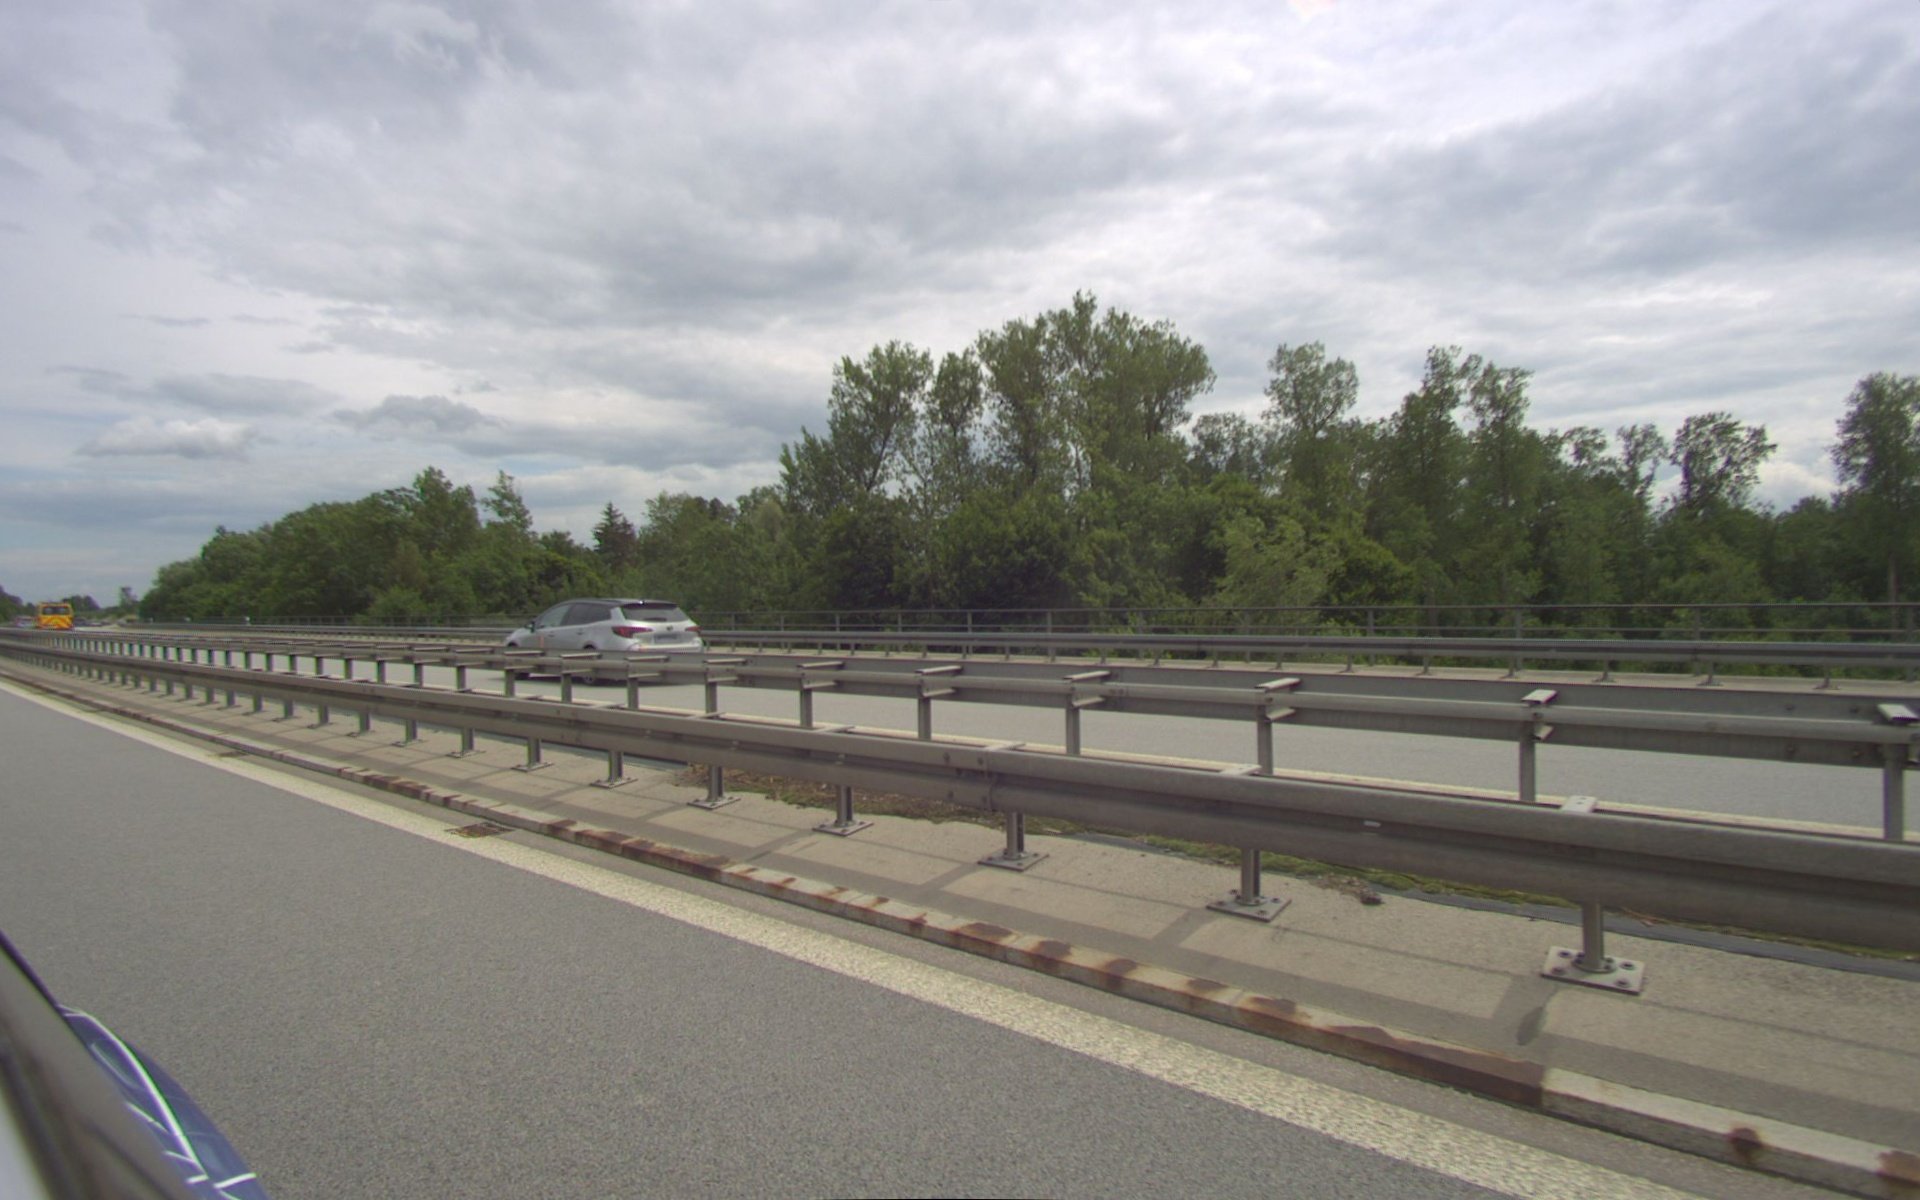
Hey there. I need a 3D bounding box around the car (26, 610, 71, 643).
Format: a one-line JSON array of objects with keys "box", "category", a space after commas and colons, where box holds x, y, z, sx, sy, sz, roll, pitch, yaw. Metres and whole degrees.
[{"box": [-65.617, 1.900, 72.848, 6.399, 2.310, 1.971, -1, -1, 44], "category": "car"}]

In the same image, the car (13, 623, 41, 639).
[{"box": [-89.089, 2.937, 96.631, 4.250, 1.416, 1.709, -1, -1, 44], "category": "car"}]

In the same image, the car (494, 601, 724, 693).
[{"box": [-6.116, 0.751, 17.387, 4.384, 1.397, 1.754, -1, -1, 40], "category": "car"}]
